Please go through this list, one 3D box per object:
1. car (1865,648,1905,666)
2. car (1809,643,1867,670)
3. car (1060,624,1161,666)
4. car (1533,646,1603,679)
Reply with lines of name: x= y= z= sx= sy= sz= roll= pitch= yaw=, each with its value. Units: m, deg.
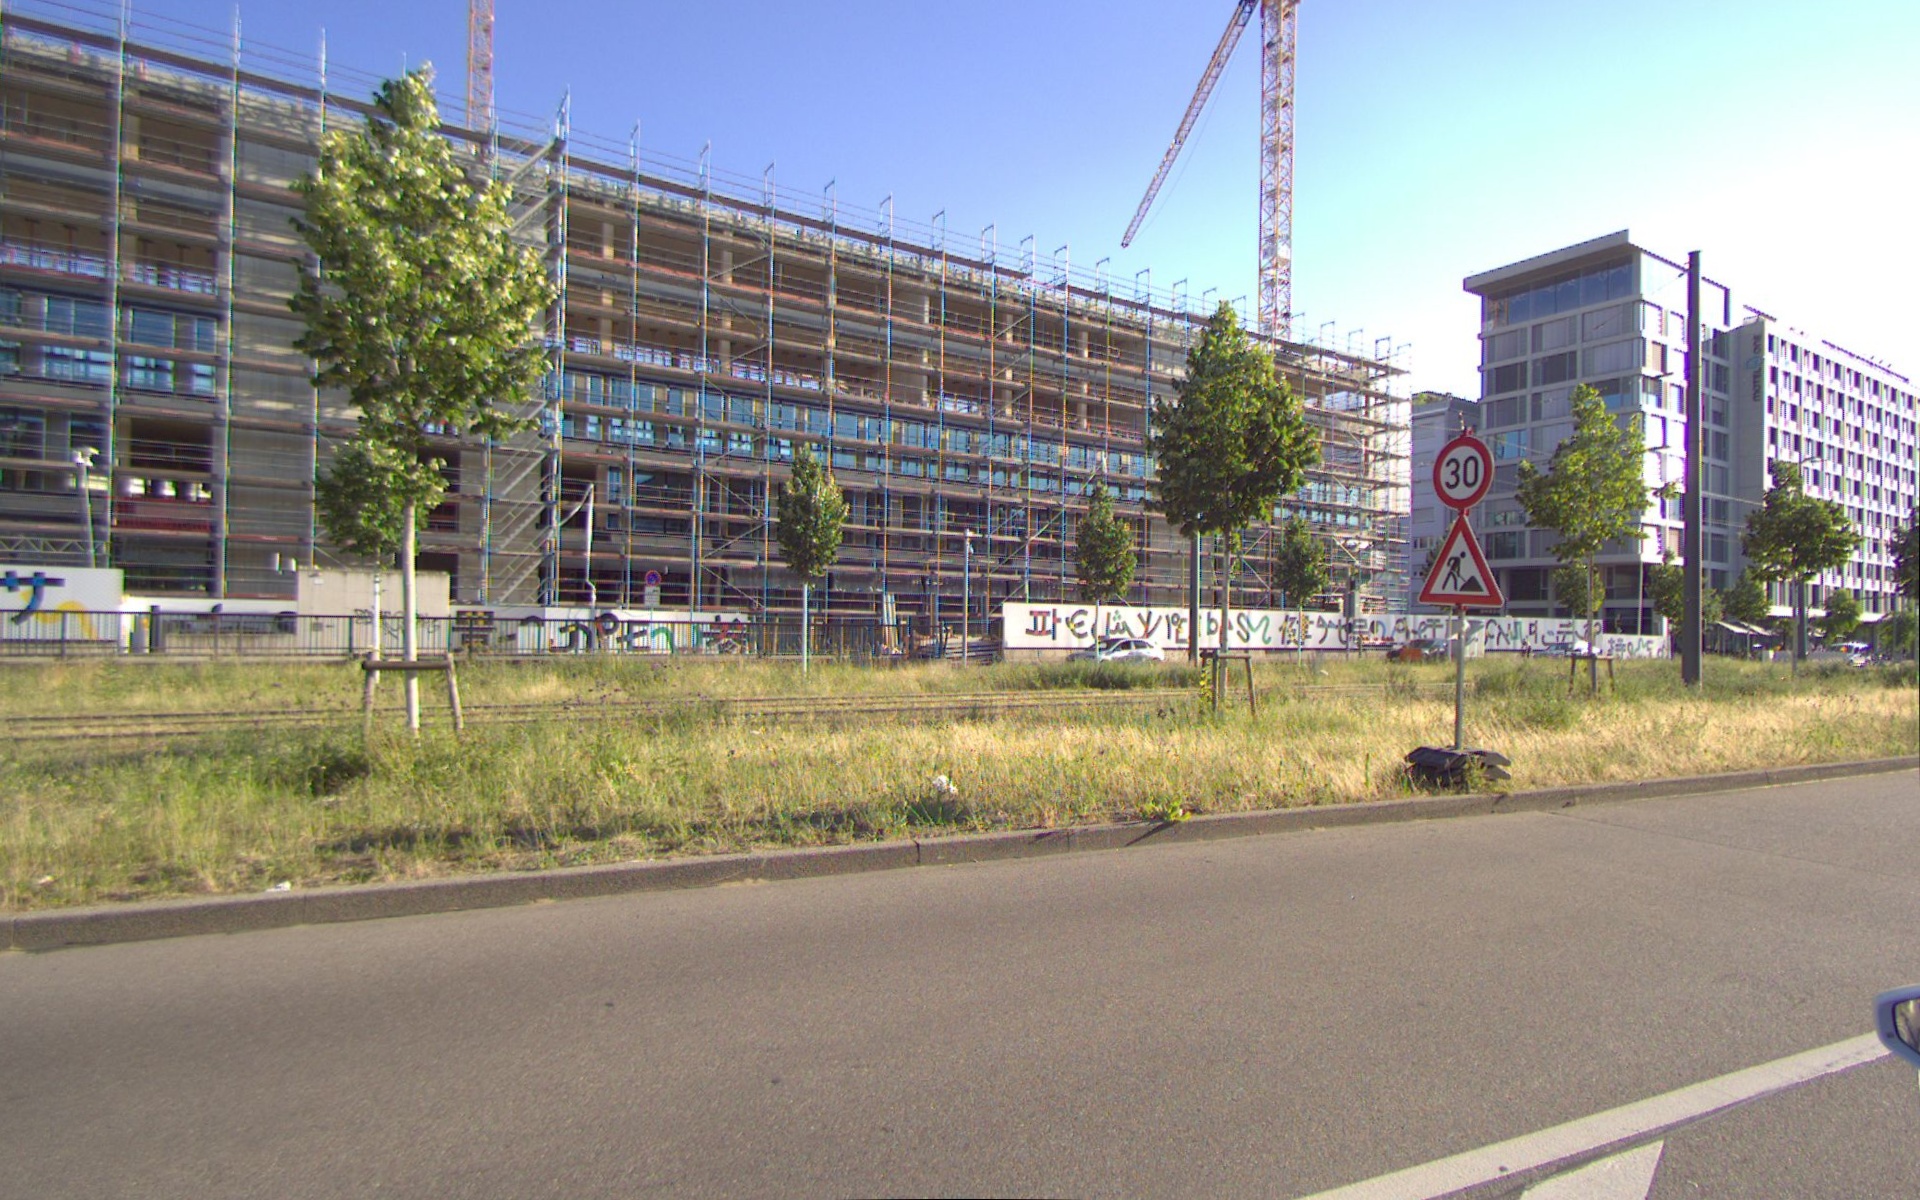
car: x=82.463 y=5.101 z=89.546 sx=3.543 sy=1.461 sz=1.699 roll=2 pitch=0 yaw=-32
car: x=60.073 y=3.857 z=68.751 sx=3.591 sy=1.706 sz=1.783 roll=2 pitch=0 yaw=-27
car: x=5.726 y=1.705 z=38.233 sx=3.543 sy=1.461 sz=1.699 roll=2 pitch=0 yaw=-32
car: x=33.447 y=3.419 z=55.228 sx=3.597 sy=1.706 sz=1.781 roll=2 pitch=0 yaw=-31
